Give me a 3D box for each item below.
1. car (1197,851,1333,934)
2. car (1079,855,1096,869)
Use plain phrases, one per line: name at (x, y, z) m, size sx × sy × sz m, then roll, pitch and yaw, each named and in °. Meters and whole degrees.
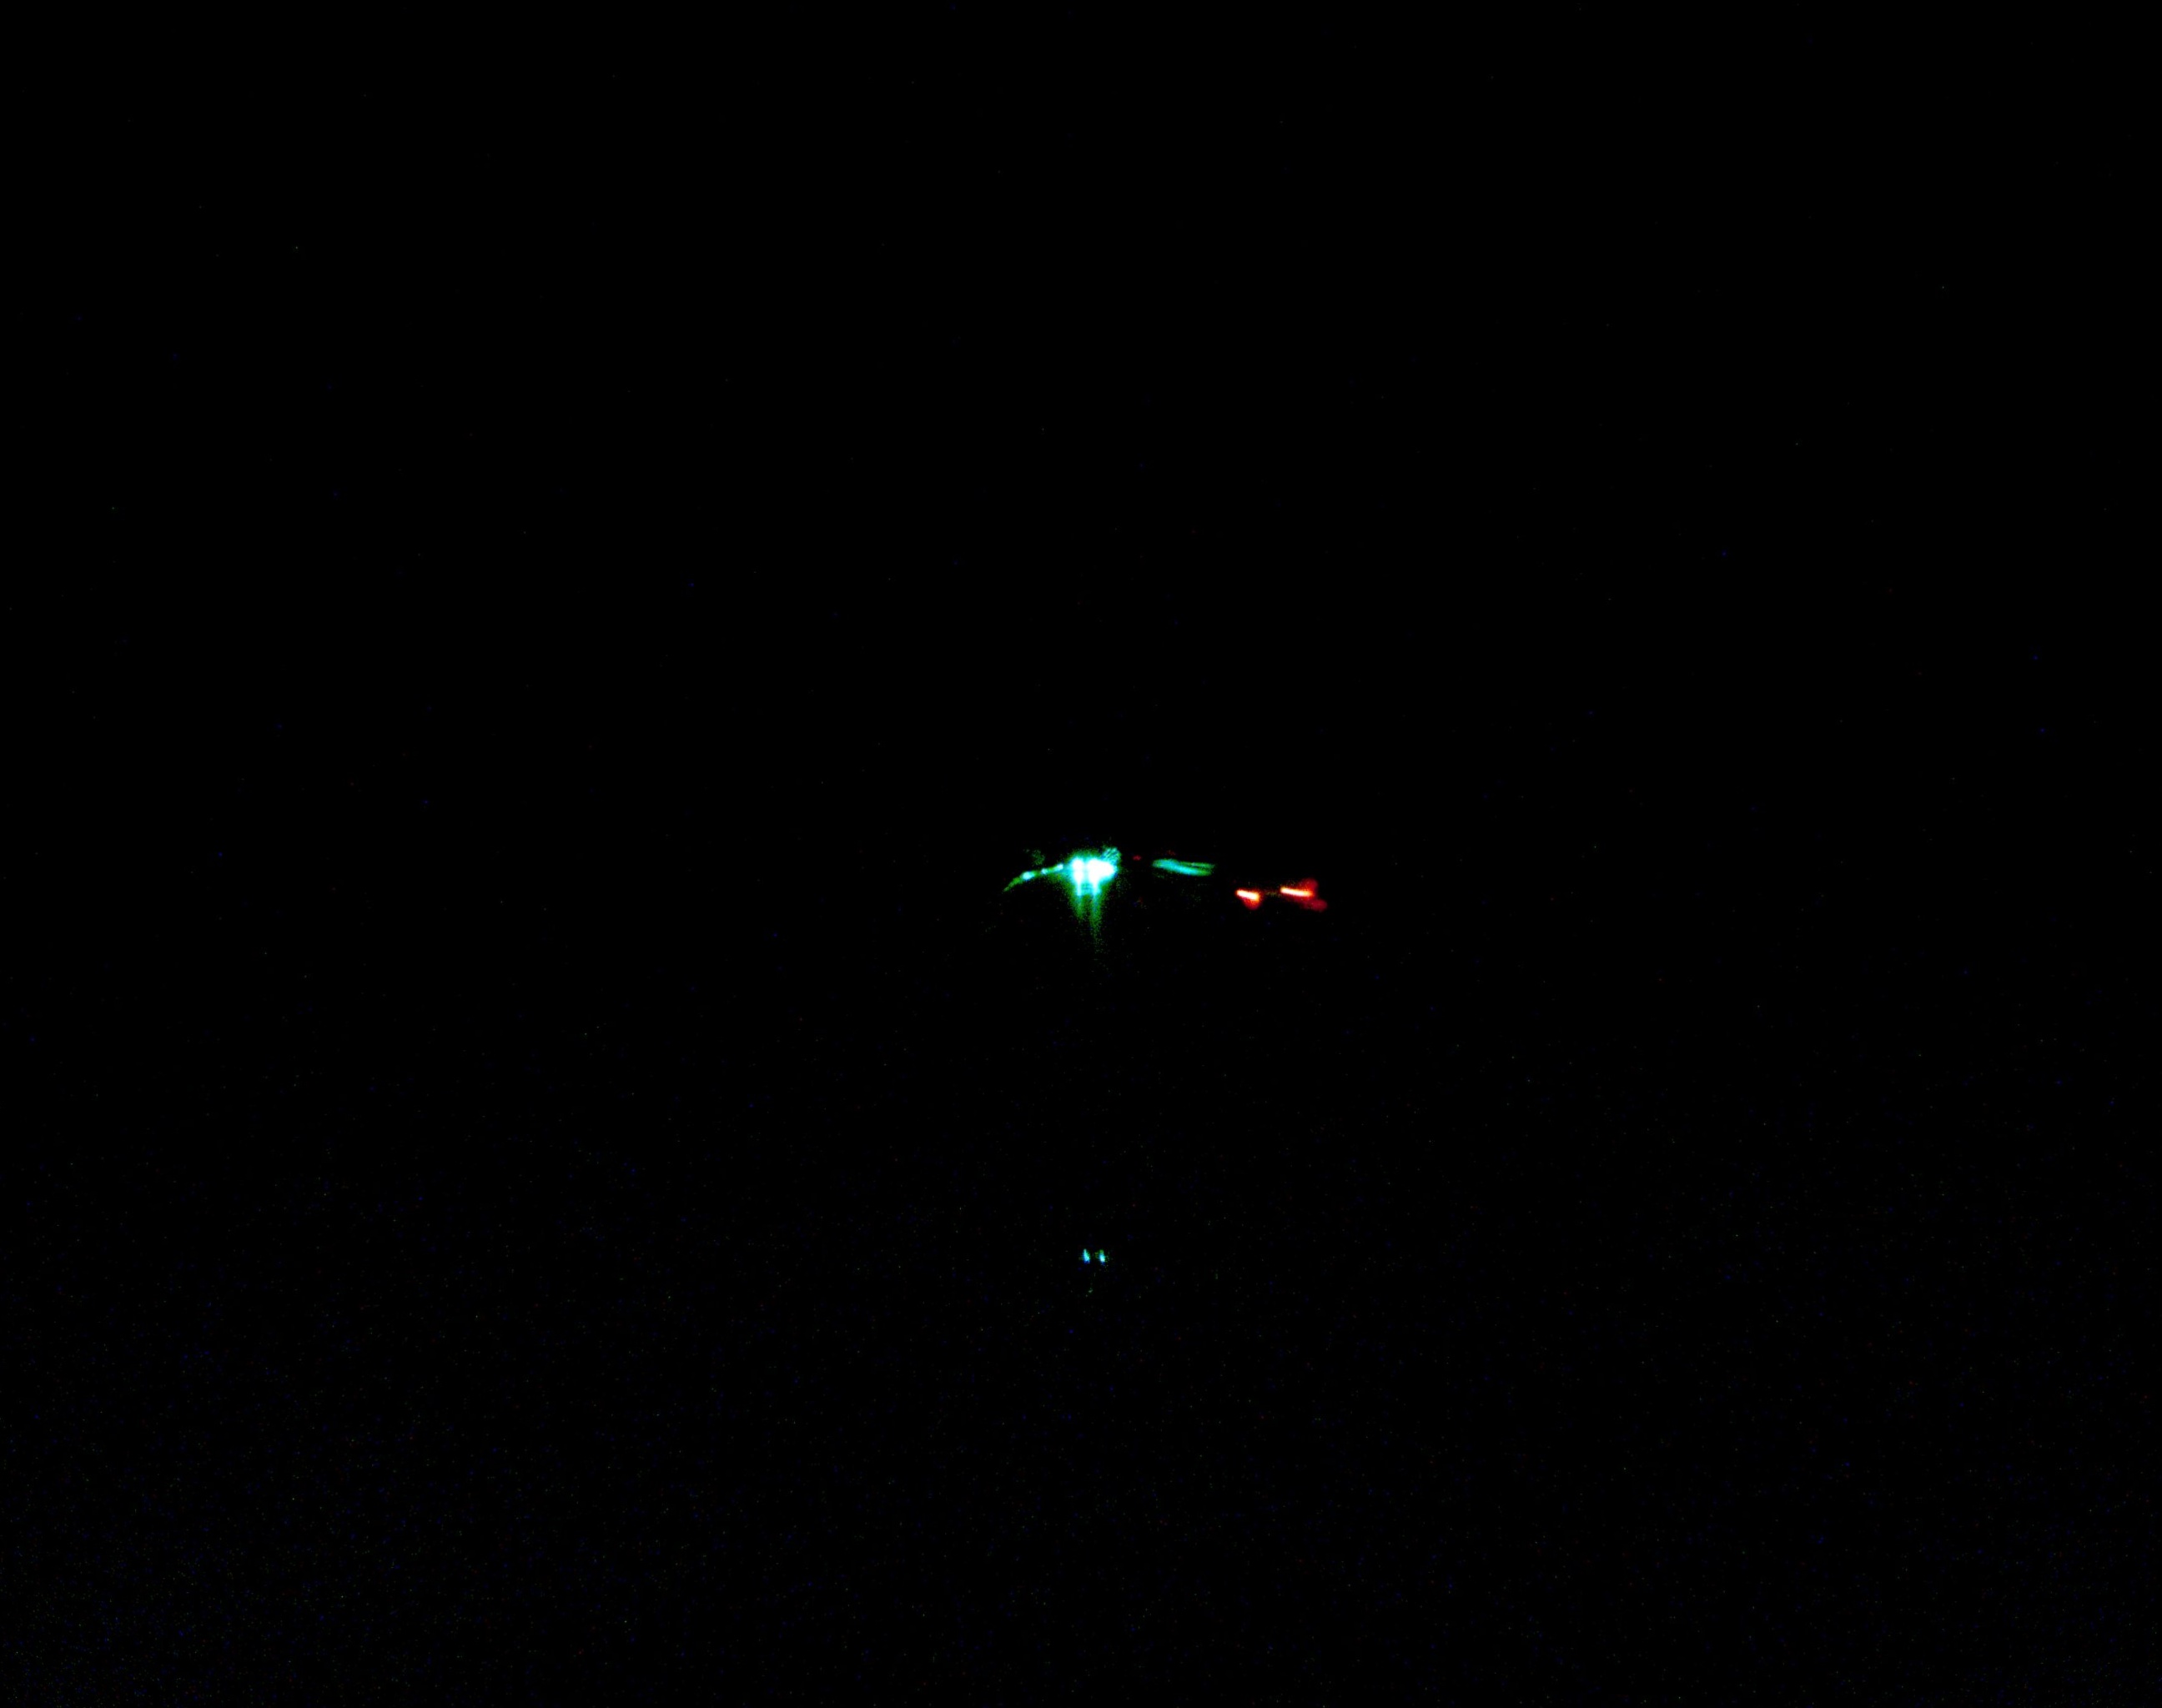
car at (3.841, 0.741, 16.563) m, size 1.998 × 1.467 × 3.924 m, roll -3°, pitch 1°, yaw 1°
car at (0.702, 0.878, 84.173) m, size 1.807 × 1.452 × 4.275 m, roll -3°, pitch 0°, yaw 0°
